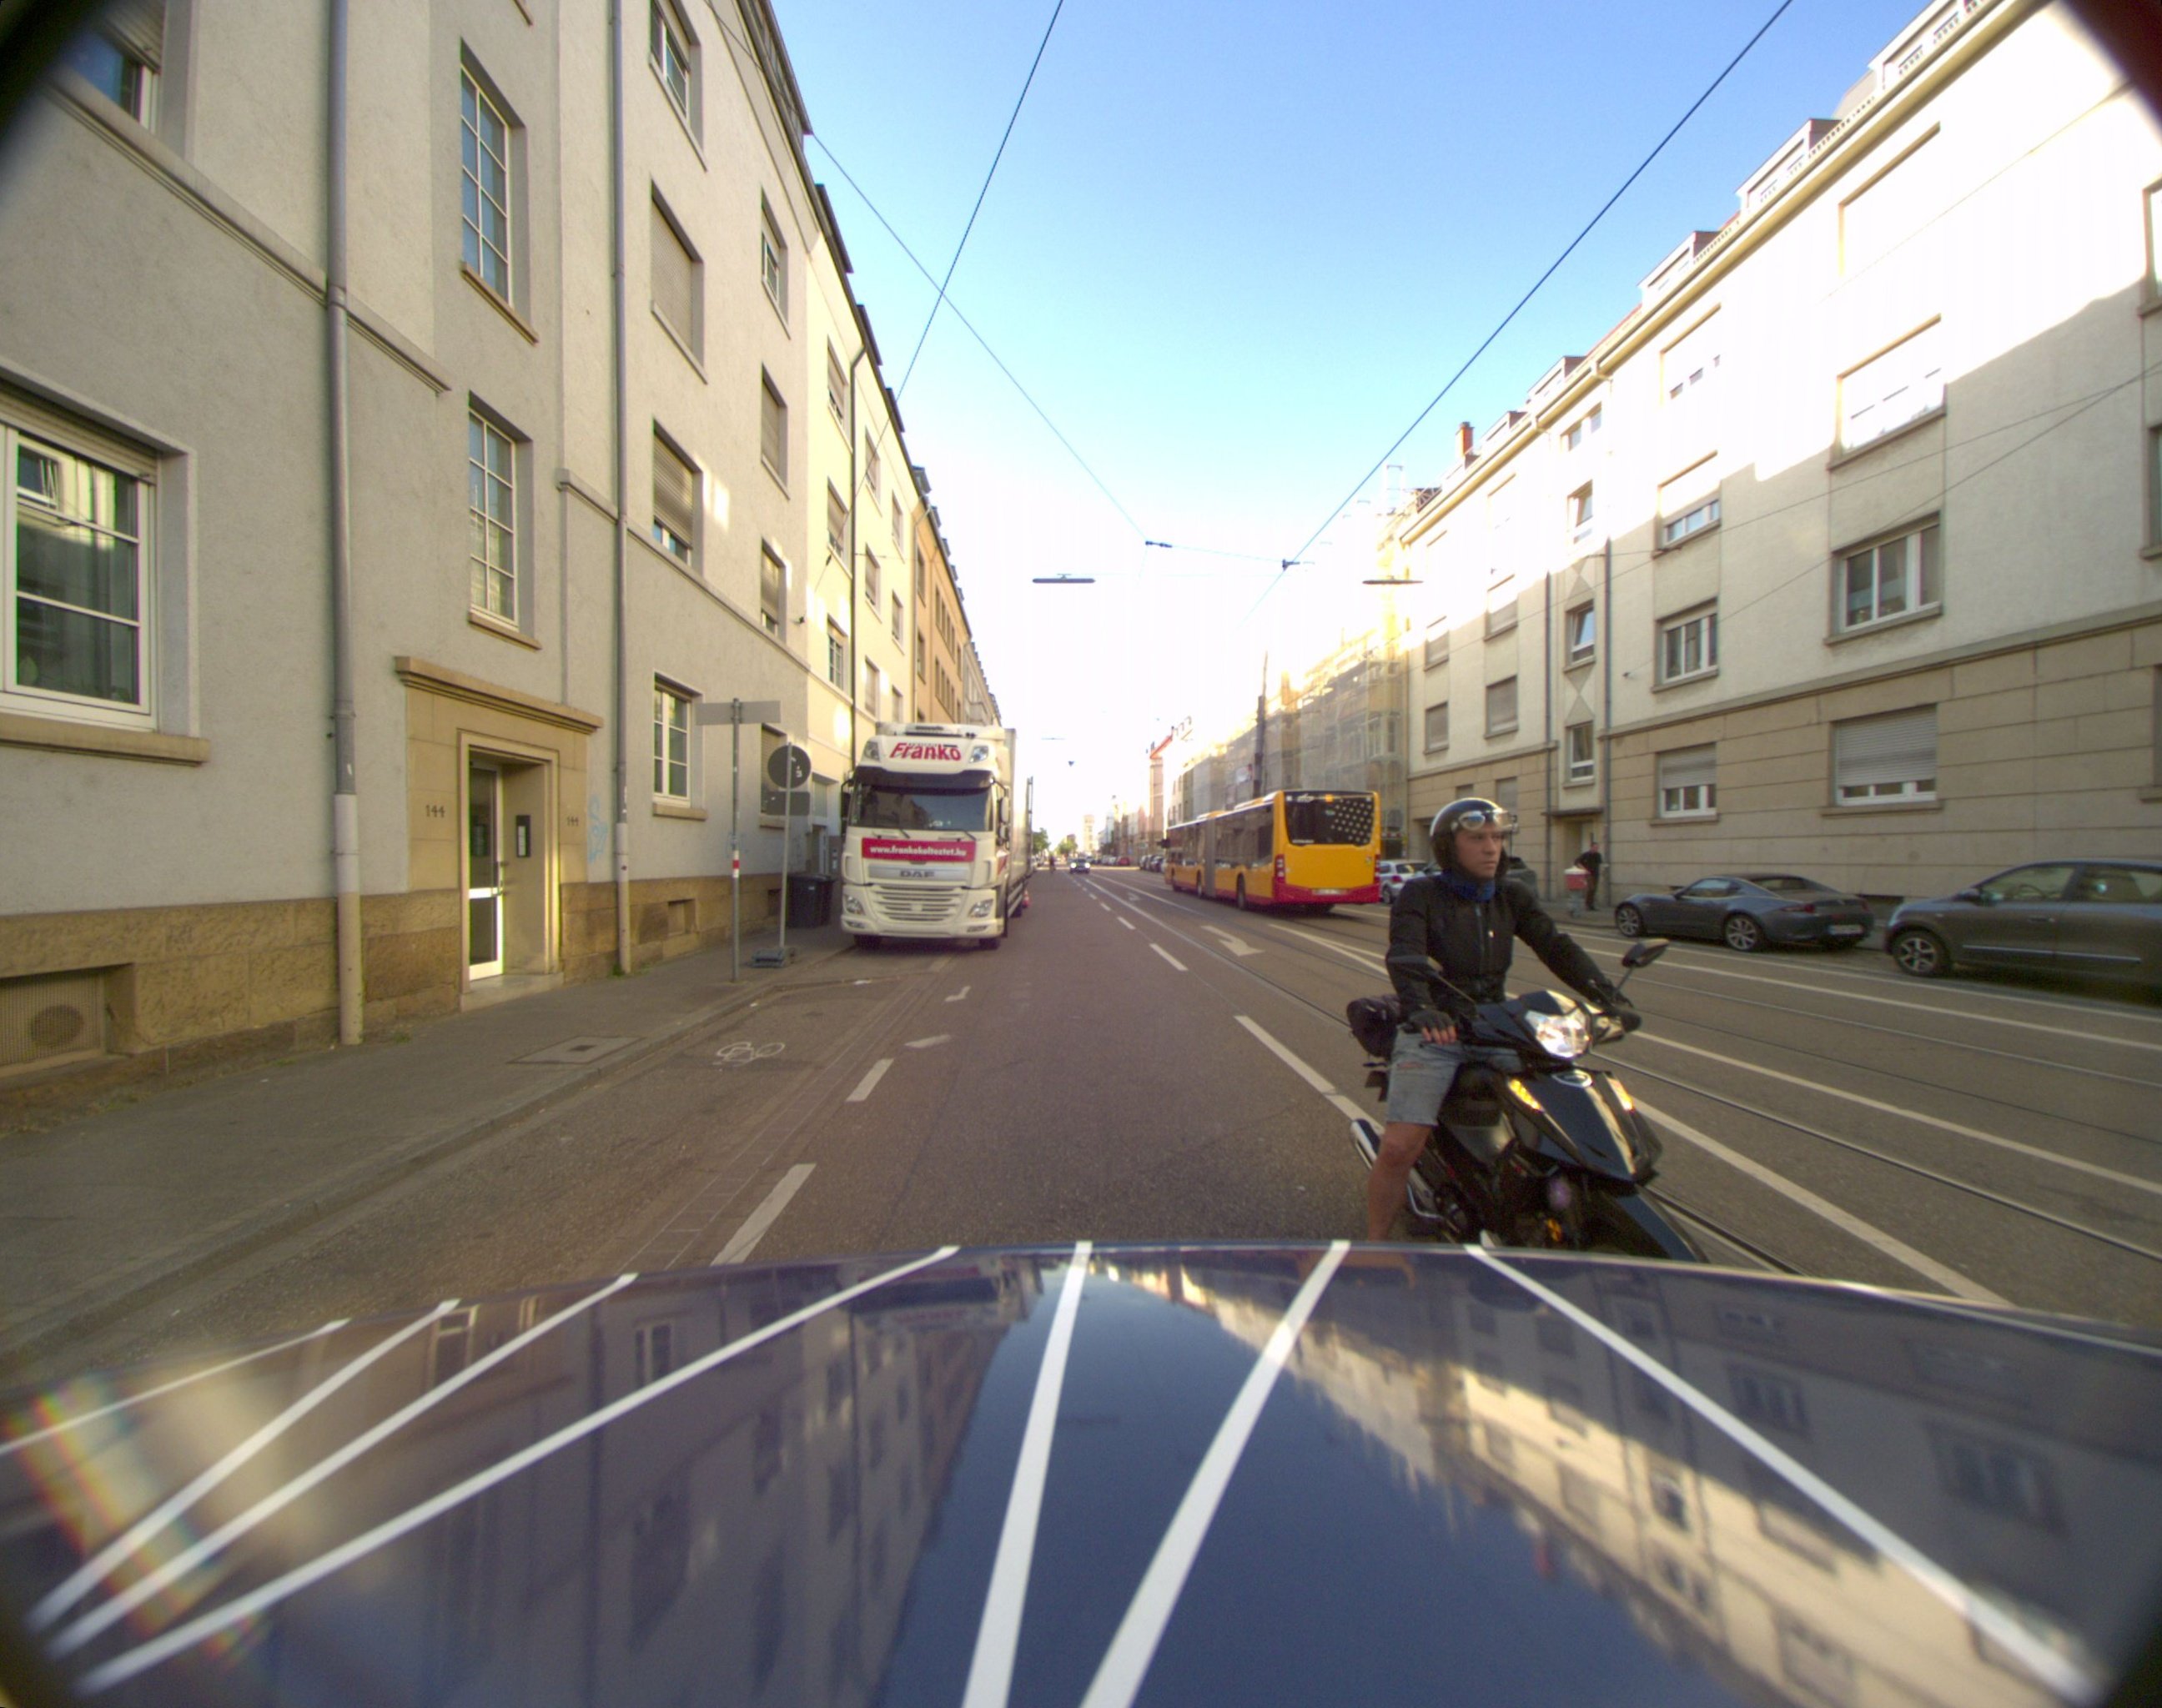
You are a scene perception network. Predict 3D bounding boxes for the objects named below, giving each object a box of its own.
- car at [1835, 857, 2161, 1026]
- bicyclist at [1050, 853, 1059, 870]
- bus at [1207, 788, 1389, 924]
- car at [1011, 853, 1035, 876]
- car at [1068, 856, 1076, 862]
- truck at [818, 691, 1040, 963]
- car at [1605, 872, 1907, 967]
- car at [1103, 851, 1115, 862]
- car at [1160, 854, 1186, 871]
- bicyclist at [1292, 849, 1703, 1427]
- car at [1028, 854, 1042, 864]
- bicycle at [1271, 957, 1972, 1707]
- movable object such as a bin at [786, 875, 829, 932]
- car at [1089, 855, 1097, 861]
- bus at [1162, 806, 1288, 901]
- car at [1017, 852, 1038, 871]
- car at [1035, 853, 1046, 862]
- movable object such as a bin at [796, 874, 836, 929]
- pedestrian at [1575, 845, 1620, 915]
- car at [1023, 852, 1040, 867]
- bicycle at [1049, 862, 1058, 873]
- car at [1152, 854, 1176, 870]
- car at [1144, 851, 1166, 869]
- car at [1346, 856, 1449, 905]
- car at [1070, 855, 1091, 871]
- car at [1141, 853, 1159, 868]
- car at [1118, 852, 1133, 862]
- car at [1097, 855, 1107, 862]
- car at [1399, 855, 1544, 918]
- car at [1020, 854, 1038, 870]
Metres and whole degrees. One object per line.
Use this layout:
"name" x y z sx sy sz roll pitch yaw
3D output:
"car" 11.422 0.868 8.609 1.704 1.560 3.998 -2 1 -2
"bicyclist" -2.307 0.628 65.276 0.744 1.481 0.816 0 1 -1
"bus" 5.633 0.040 21.302 2.745 3.143 7.576 0 0 -2
"car" -4.519 0.794 59.439 1.713 1.683 4.588 1 0 -3
"car" -2.541 1.225 205.617 1.826 1.559 4.199 -2 0 -4
"truck" -2.581 -0.403 17.236 2.867 4.049 11.776 0 0 -1
"car" 11.214 1.002 13.031 1.704 1.209 3.784 -2 1 -3
"car" 5.560 0.453 149.173 1.999 2.002 3.999 1 0 -3
"car" 8.571 0.780 71.132 1.751 1.502 3.999 1 0 -2
"bicyclist" 1.240 0.758 2.466 0.844 1.545 0.849 0 1 -3
"car" -6.809 0.697 112.984 1.999 1.412 3.726 1 0 -2
"bicycle" 1.268 1.048 2.412 0.740 1.170 1.973 0 0 -3
"movable object such as a bin" -5.401 0.971 15.032 0.660 1.098 0.541 0 1 -5
"car" 3.074 1.068 191.746 1.799 1.494 3.768 -2 0 -3
"bus" 5.299 -0.016 30.171 2.729 3.140 10.193 0 0 -2
"car" -5.022 0.679 71.619 1.703 1.688 4.187 1 0 0
"car" -7.619 0.632 142.960 1.999 1.630 3.999 1 0 -2
"movable object such as a bin" -5.436 0.966 15.623 0.660 1.098 0.541 0 1 -5
"pedestrian" 12.869 0.637 18.939 0.582 1.684 0.716 -2 1 -3
"car" -5.321 0.617 82.400 1.703 1.581 3.960 0 0 -2
"bicycle" -2.320 1.145 65.166 0.744 0.850 1.885 0 0 -1
"car" 8.351 0.777 77.191 1.702 1.569 4.221 -2 0 -3
"car" 8.122 0.614 83.275 1.799 1.836 3.768 -2 0 -3
"car" 10.723 0.837 26.088 1.704 1.407 3.998 -3 1 -2
"car" -0.025 0.813 71.017 1.859 1.369 4.000 0 0 1
"car" 7.951 0.730 88.145 1.798 1.601 3.769 0 0 1
"car" 6.971 0.397 118.760 1.799 1.494 3.768 -2 0 -3
"car" 4.550 0.943 167.663 1.799 1.494 3.768 -2 0 -3
"car" 10.826 0.831 21.457 1.704 1.558 4.405 0 0 -2
"car" -5.257 0.802 77.282 1.703 1.496 3.862 0 0 -1
